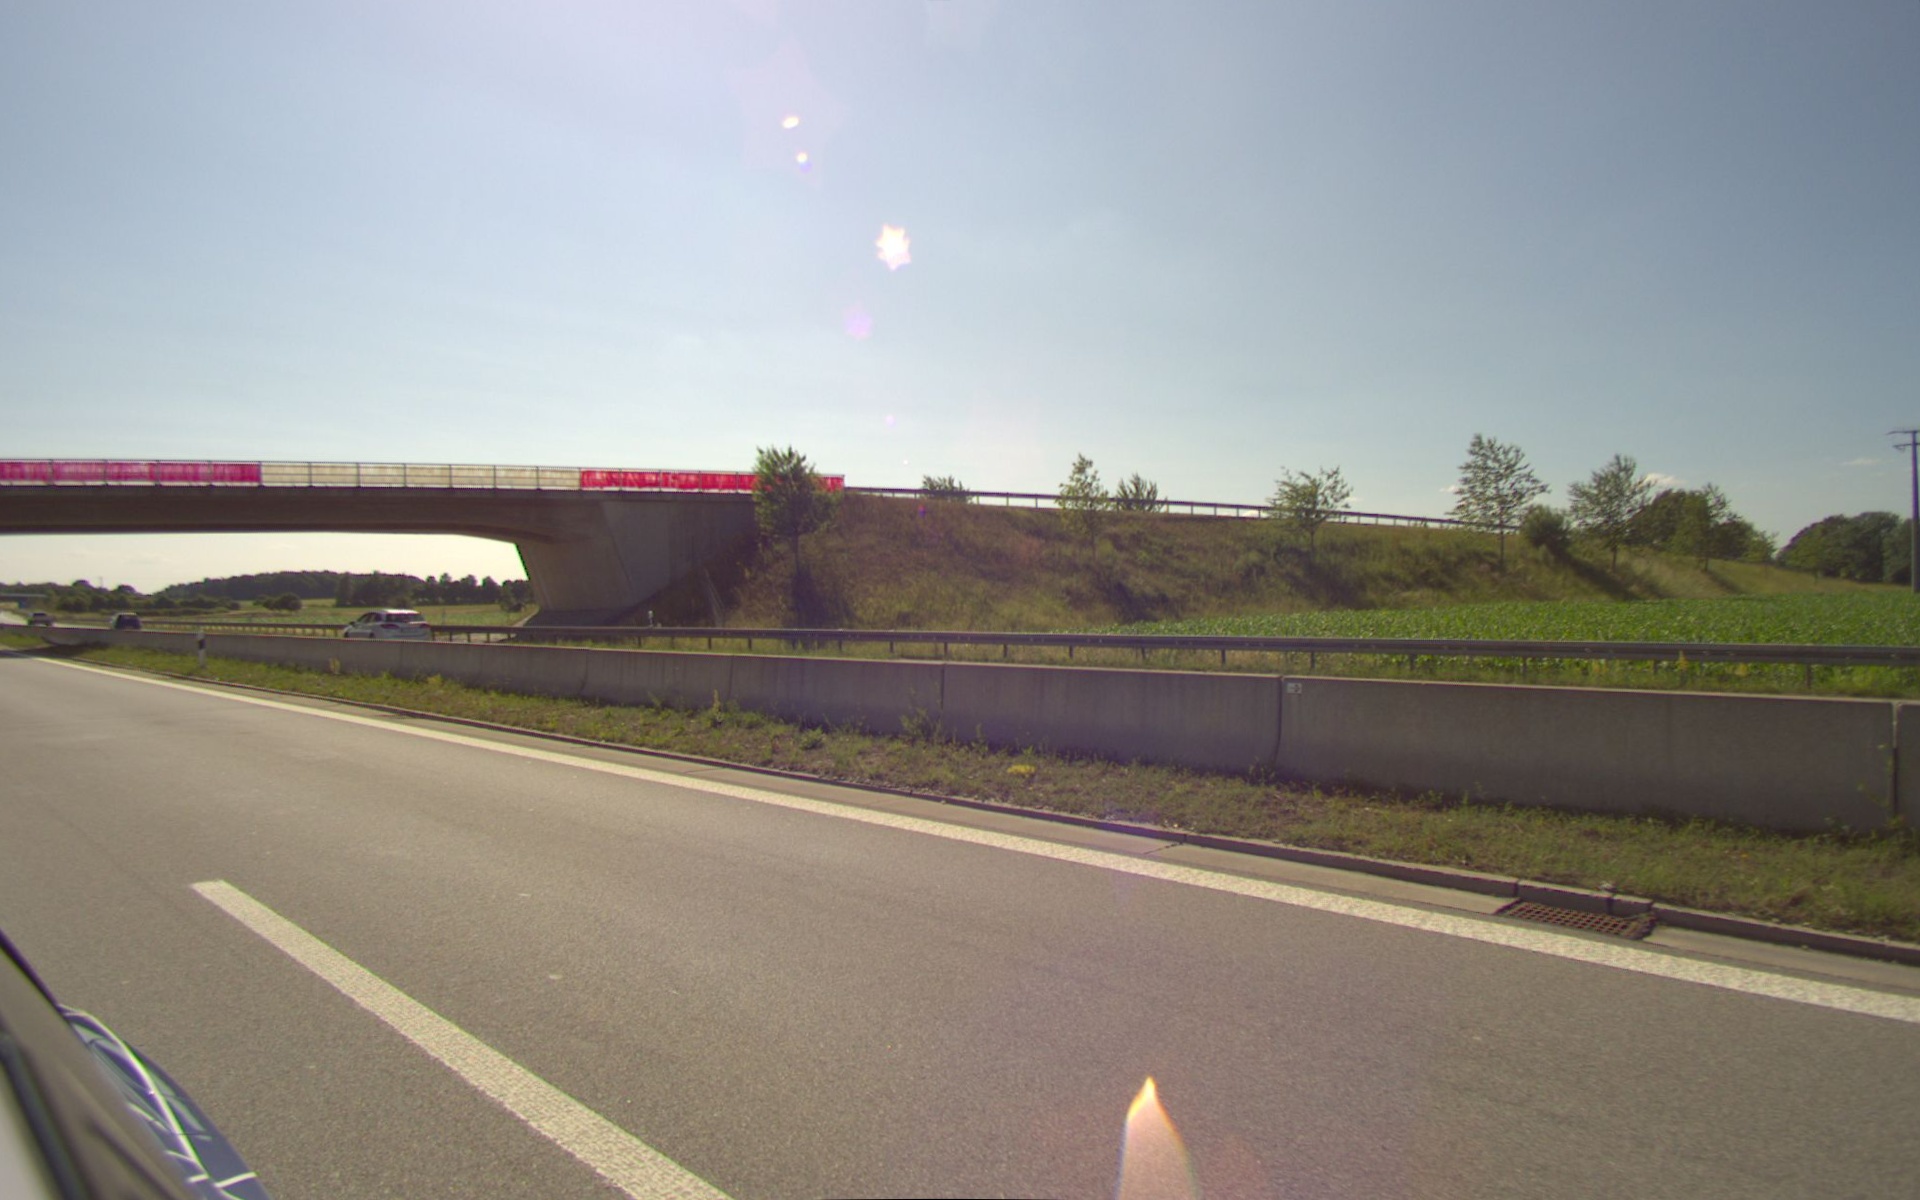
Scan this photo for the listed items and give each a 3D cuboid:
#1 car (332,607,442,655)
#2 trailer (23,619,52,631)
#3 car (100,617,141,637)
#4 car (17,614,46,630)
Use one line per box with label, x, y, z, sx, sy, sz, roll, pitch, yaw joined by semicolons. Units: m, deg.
car;-20.963;1.082;36.927;4.894;1.590;1.973;0;1;41
trailer;-103.619;2.787;113.644;4.261;1.267;1.972;-1;0;42
car;-64.887;2.073;78.226;4.193;1.471;1.835;-1;-1;41
car;-107.279;2.579;116.952;5.586;1.744;1.972;-1;0;42
